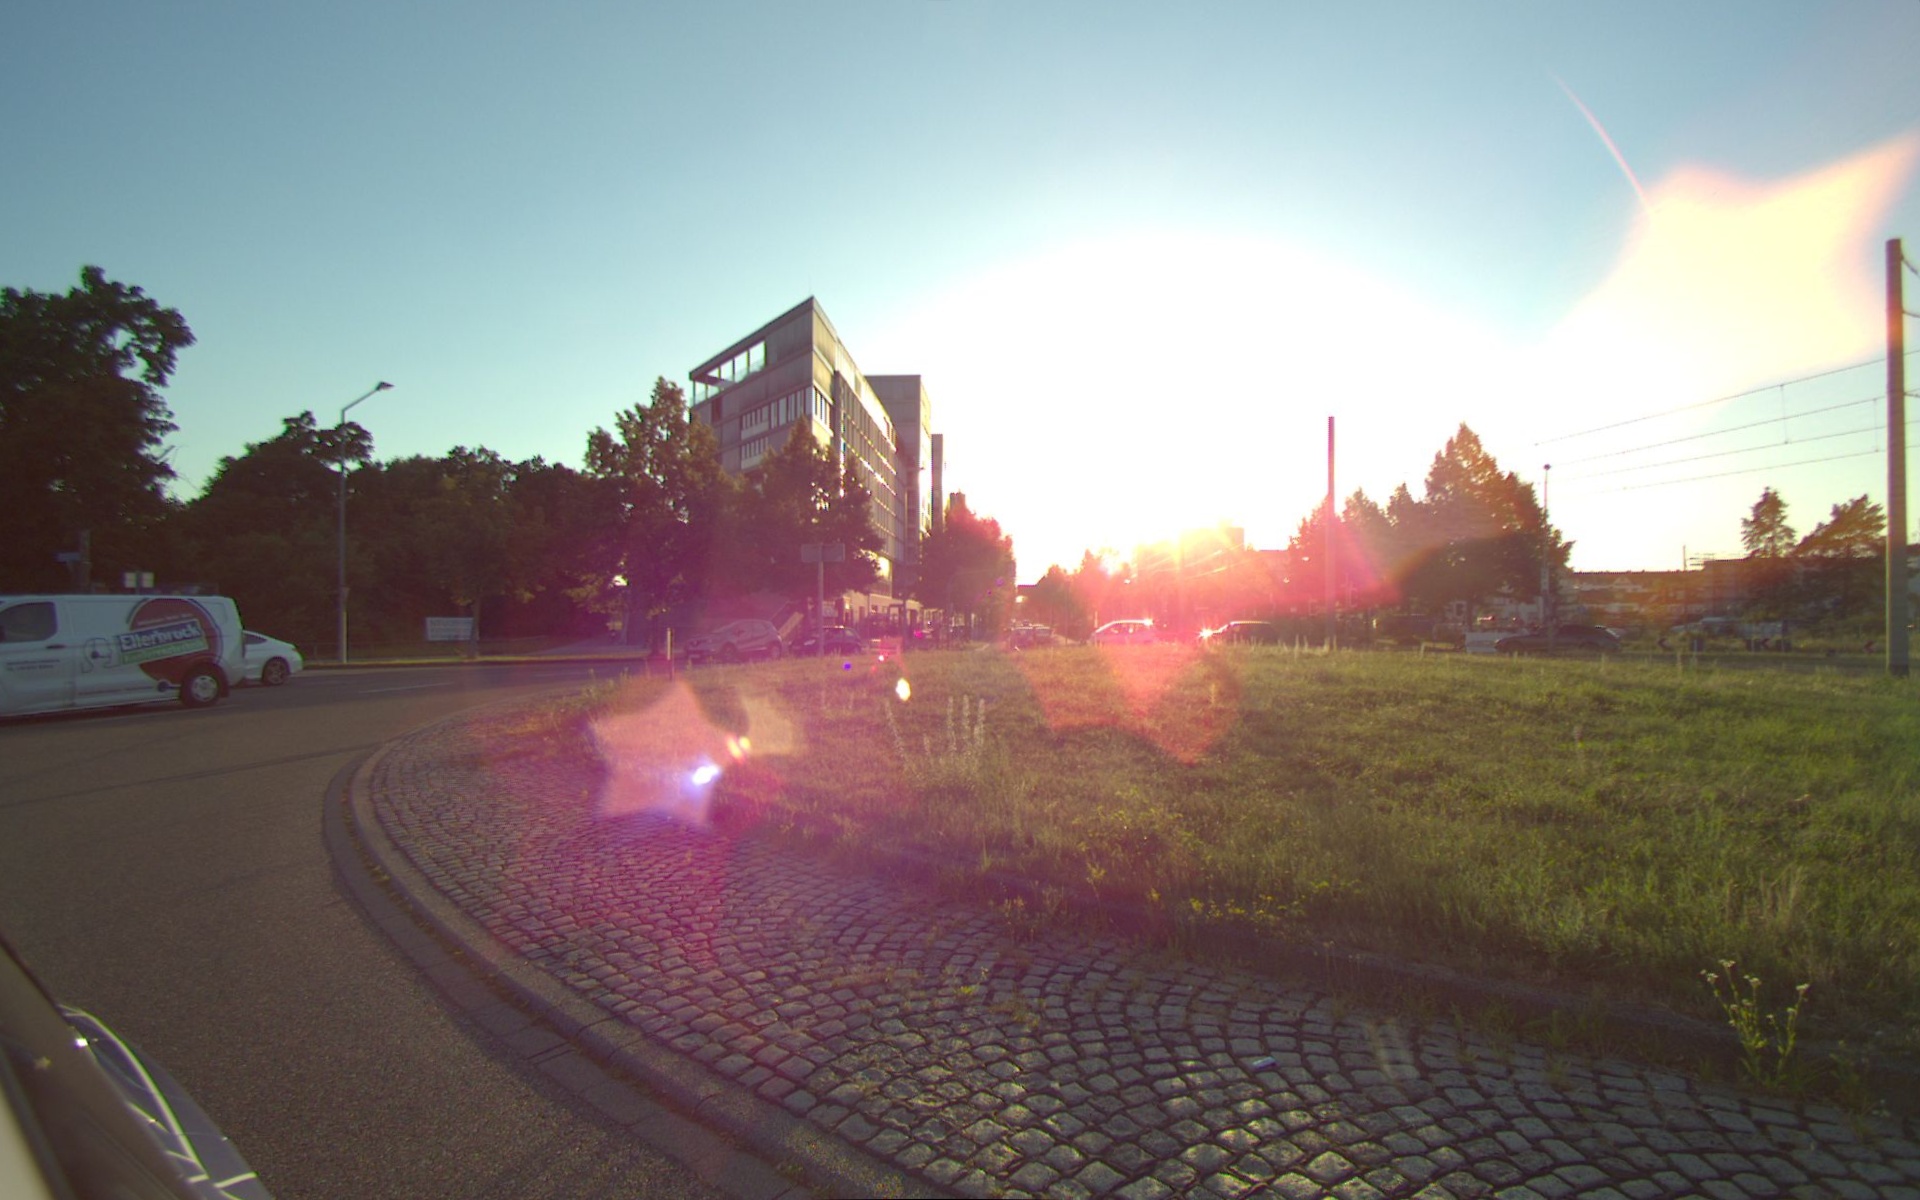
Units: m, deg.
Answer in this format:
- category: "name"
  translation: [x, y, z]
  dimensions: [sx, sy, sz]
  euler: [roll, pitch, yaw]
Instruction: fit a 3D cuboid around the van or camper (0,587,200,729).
- category: "van or camper"
  translation: [-14.305, 0.823, 14.638]
  dimensions: [1.980, 1.972, 5.307]
  euler: [-1, -1, 12]
